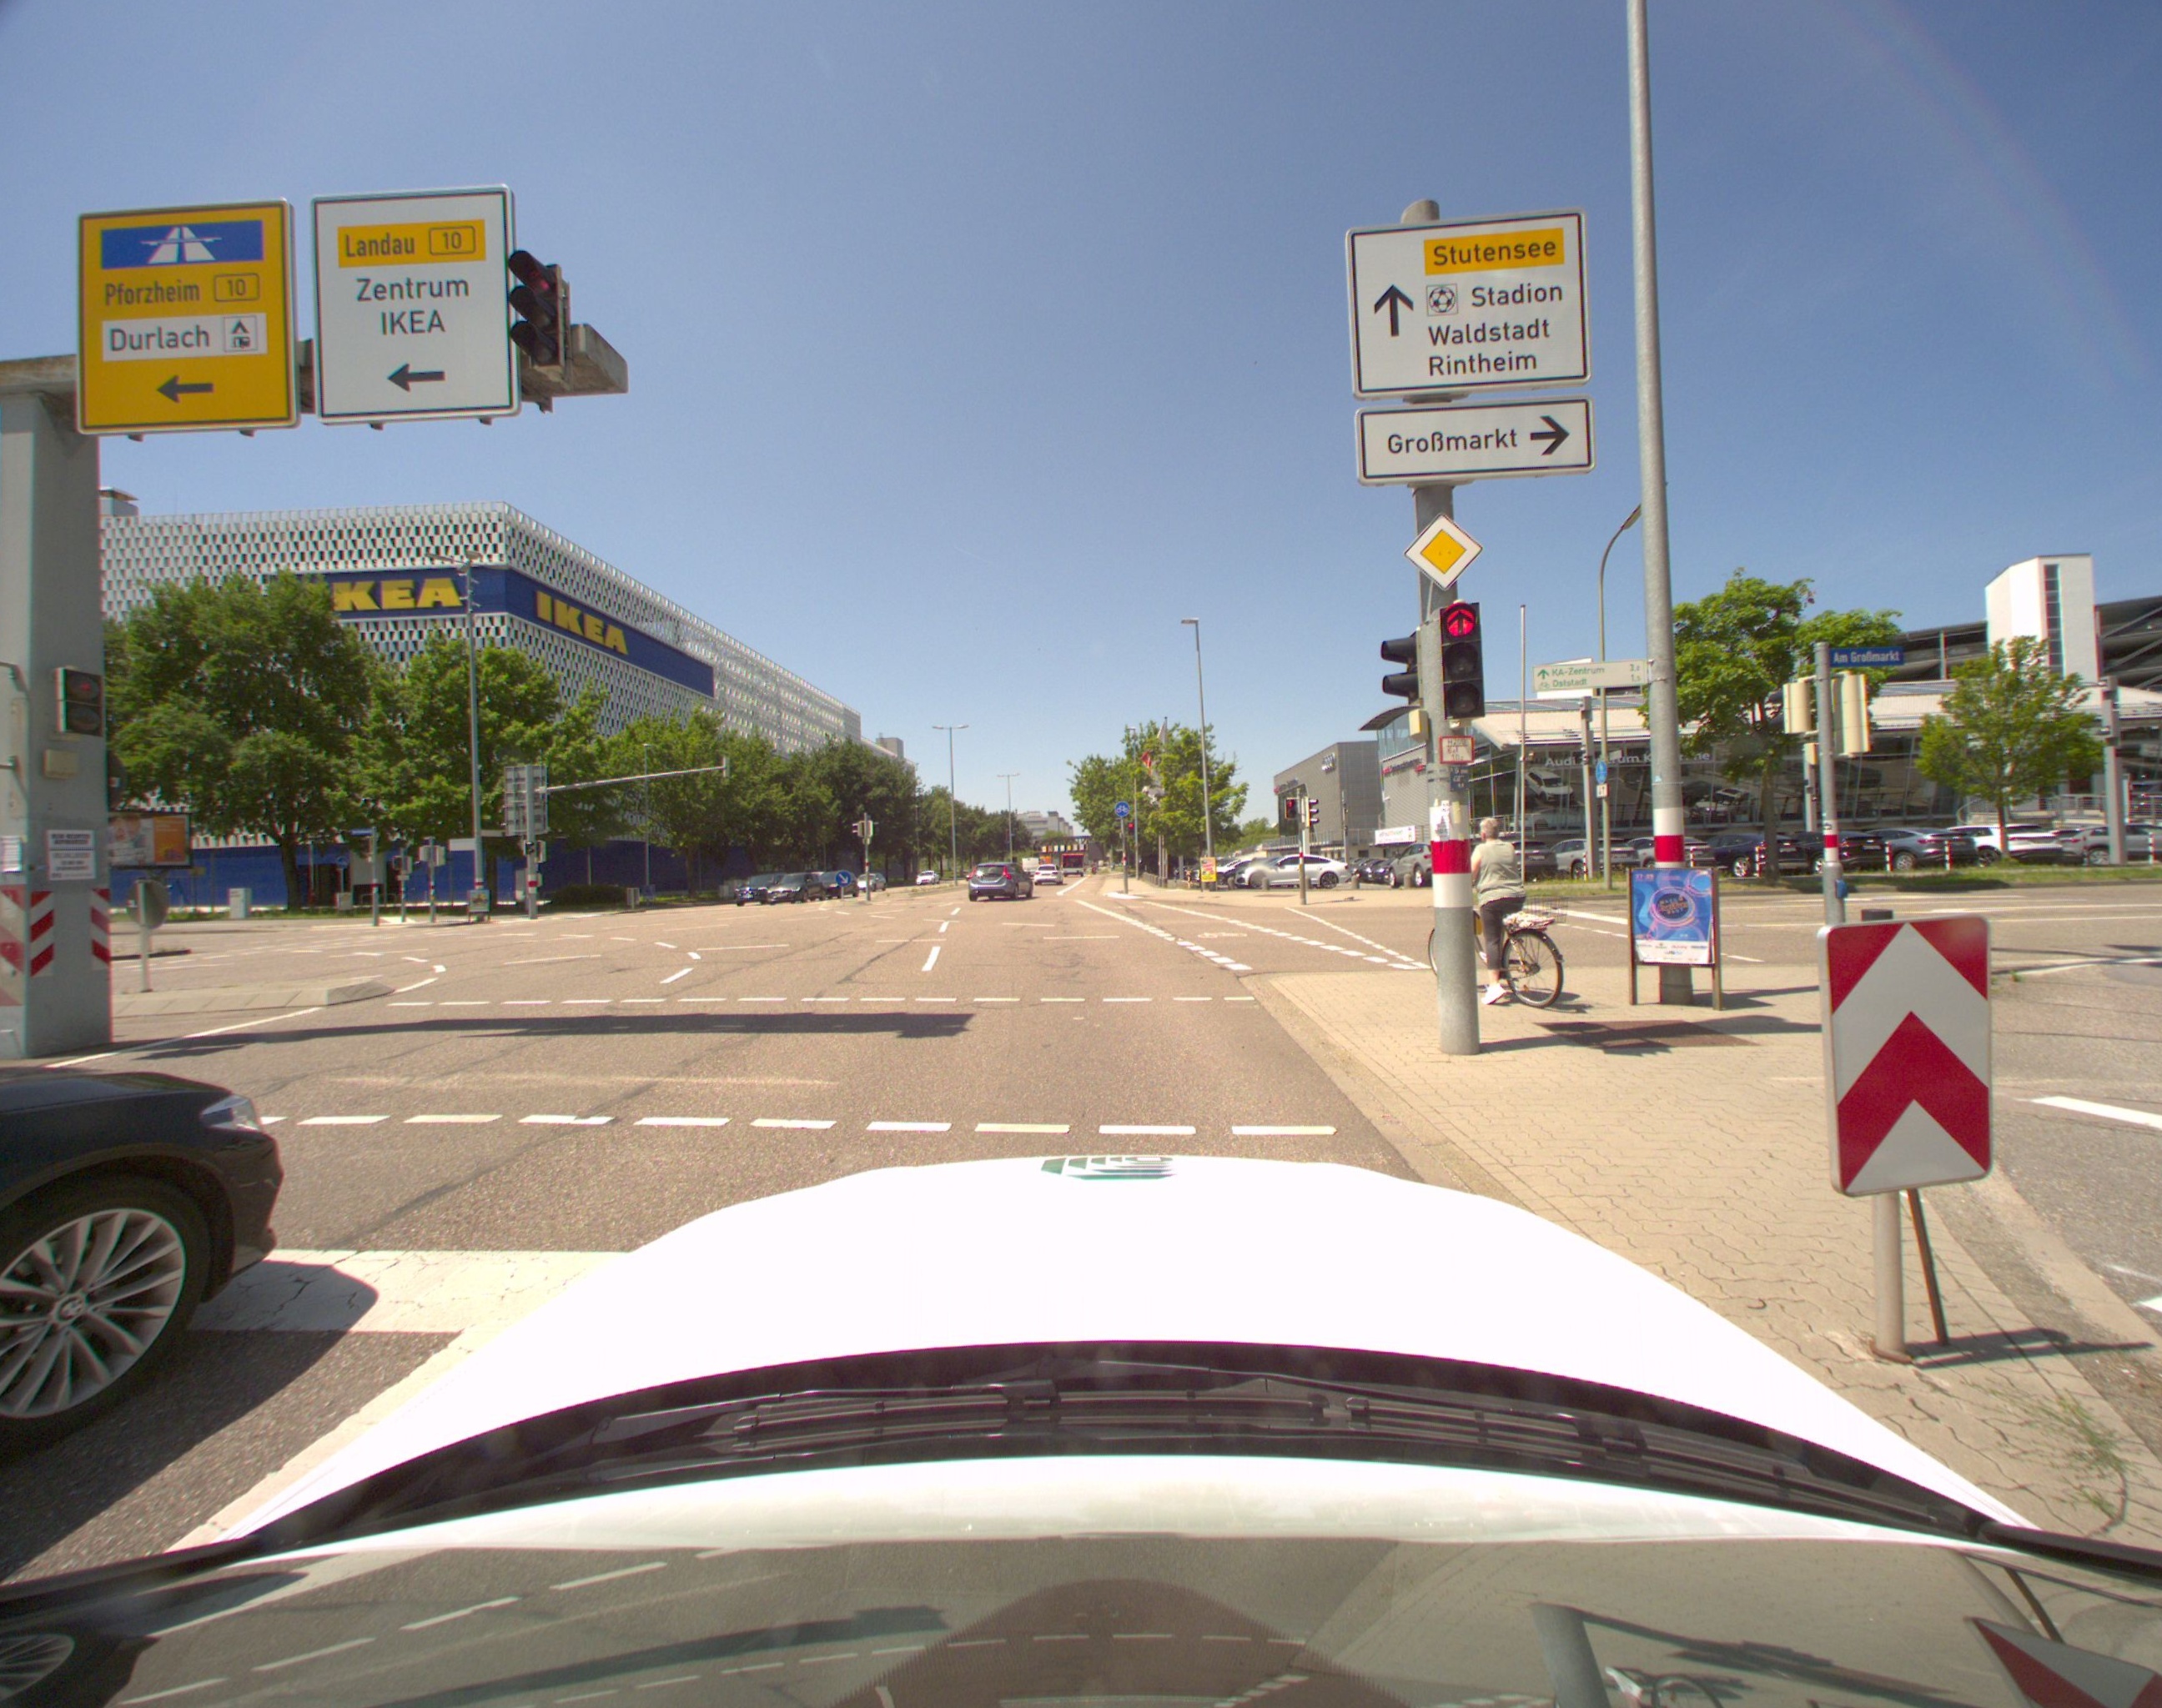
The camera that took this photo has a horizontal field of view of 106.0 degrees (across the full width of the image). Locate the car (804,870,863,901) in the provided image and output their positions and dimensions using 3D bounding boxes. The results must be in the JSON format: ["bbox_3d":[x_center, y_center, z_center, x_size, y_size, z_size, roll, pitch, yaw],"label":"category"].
[{"bbox_3d":[-13.761,1.725,45.470,1.720,1.505,4.245,-4,-1,2],"label":"car"}]

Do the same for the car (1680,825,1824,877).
[{"bbox_3d":[23.051,-0.080,28.187,1.624,1.654,3.907,-1,-1,-2],"label":"car"}]

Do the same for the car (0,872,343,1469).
[{"bbox_3d":[-3.565,0.790,0.614,1.791,1.440,4.557,-2,0,1],"label":"car"}]

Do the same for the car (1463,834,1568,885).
[{"bbox_3d":[15.134,0.215,28.610,1.836,1.654,4.003,0,-1,5],"label":"car"}]

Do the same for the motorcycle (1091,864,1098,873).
[{"bbox_3d":[1.735,1.889,106.209,0.716,1.105,1.825,-1,-1,-8],"label":"motorcycle"}]

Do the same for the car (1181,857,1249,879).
[{"bbox_3d":[8.521,0.887,52.044,4.085,1.405,1.869,0,-1,1],"label":"car"}]

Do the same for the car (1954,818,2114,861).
[{"bbox_3d":[39.886,-0.580,34.246,3.947,1.571,1.862,-3,-1,31],"label":"car"}]

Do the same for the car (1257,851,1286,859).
[{"bbox_3d":[27.146,0.131,115.954,3.716,1.130,1.682,0,-1,-3],"label":"car"}]

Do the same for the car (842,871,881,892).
[{"bbox_3d":[-16.229,2.016,60.345,1.643,1.486,3.916,-3,-1,2],"label":"car"}]

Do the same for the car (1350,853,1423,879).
[{"bbox_3d":[19.108,0.767,51.026,3.967,1.573,1.634,0,-1,1],"label":"car"}]

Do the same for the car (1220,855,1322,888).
[{"bbox_3d":[8.273,0.751,35.692,4.081,1.390,1.869,0,-1,1],"label":"car"}]

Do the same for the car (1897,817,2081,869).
[{"bbox_3d":[31.188,-0.331,28.165,1.840,1.654,3.994,0,-1,-2],"label":"car"}]

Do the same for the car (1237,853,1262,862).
[{"bbox_3d":[29.179,0.633,141.028,3.978,1.312,1.795,-2,-1,-3],"label":"car"}]

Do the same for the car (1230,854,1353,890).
[{"bbox_3d":[8.495,0.716,33.184,4.572,1.390,1.871,0,-1,3],"label":"car"}]

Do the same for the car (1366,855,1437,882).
[{"bbox_3d":[19.128,0.846,48.755,3.634,1.580,1.643,0,-1,1],"label":"car"}]

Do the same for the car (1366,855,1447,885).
[{"bbox_3d":[18.324,0.887,45.965,3.970,1.622,1.657,0,-1,1],"label":"car"}]

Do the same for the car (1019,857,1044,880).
[{"bbox_3d":[-4.629,1.338,76.549,1.986,2.014,4.000,-2,-1,1],"label":"car"}]

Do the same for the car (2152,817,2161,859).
[{"bbox_3d":[39.453,-0.623,26.903,4.558,1.471,1.861,-2,0,26],"label":"car"}]

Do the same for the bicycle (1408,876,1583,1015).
[{"bbox_3d":[3.975,0.818,8.006,0.627,1.133,1.891,-1,0,-5],"label":"bicycle"}]

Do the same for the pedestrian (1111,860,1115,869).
[{"bbox_3d":[5.211,1.682,132.724,0.621,1.374,0.564,-2,-1,0],"label":"pedestrian"}]

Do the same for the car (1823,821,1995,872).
[{"bbox_3d":[28.531,-0.224,28.257,1.840,1.654,3.994,0,-1,-2],"label":"car"}]

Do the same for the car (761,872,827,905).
[{"bbox_3d":[-13.741,1.641,39.205,1.637,1.389,3.717,-4,-1,2],"label":"car"}]

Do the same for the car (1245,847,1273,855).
[{"bbox_3d":[28.187,-0.478,129.068,3.977,1.312,1.795,0,-1,-3],"label":"car"}]

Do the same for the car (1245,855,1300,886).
[{"bbox_3d":[9.226,0.795,39.601,1.855,1.420,4.667,0,-1,4],"label":"car"}]

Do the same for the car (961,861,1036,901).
[{"bbox_3d":[-3.117,1.021,31.759,1.890,1.376,4.241,-2,-1,8],"label":"car"}]

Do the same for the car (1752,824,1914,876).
[{"bbox_3d":[25.927,-0.097,28.287,1.840,1.654,3.994,0,-1,-2],"label":"car"}]

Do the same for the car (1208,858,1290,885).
[{"bbox_3d":[8.961,0.933,43.646,4.081,1.364,1.875,0,-1,1],"label":"car"}]

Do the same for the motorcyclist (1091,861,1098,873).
[{"bbox_3d":[1.734,1.657,106.209,0.719,1.529,0.868,0,-1,-8],"label":"motorcyclist"}]

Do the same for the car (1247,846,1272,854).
[{"bbox_3d":[27.215,-0.636,124.267,3.515,1.239,1.675,0,-1,-3],"label":"car"}]

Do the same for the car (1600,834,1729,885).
[{"bbox_3d":[20.195,0.145,28.380,1.632,1.616,3.815,-1,1,-2],"label":"car"}]

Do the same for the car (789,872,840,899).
[{"bbox_3d":[-16.683,1.940,51.175,1.720,1.544,3.916,-3,-1,2],"label":"car"}]

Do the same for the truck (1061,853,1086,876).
[{"bbox_3d":[-0.756,1.111,87.285,2.449,2.410,7.136,0,-1,2],"label":"truck"}]

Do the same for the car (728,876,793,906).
[{"bbox_3d":[-16.811,1.905,42.934,1.654,1.424,4.039,-3,-1,2],"label":"car"}]

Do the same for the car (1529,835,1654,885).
[{"bbox_3d":[17.873,0.229,28.751,1.840,1.654,3.994,0,-1,-2],"label":"car"}]

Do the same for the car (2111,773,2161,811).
[{"bbox_3d":[53.475,-3.106,39.377,1.905,1.722,4.142,-2,0,-5],"label":"car"}]

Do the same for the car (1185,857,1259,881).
[{"bbox_3d":[8.481,0.906,49.248,4.210,1.390,1.869,0,-1,1],"label":"car"}]

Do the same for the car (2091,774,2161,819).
[{"bbox_3d":[45.769,-2.475,34.001,4.552,1.707,1.916,-2,-1,4],"label":"car"}]

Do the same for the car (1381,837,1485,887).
[{"bbox_3d":[12.367,0.335,28.924,1.860,1.558,4.506,-3,-2,3],"label":"car"}]

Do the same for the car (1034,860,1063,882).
[{"bbox_3d":[-2.194,1.166,56.011,1.737,1.396,3.530,-1,0,2],"label":"car"}]

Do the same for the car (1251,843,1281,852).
[{"bbox_3d":[27.268,-0.900,120.144,3.930,1.211,1.715,-1,-1,-3],"label":"car"}]

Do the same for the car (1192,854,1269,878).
[{"bbox_3d":[8.460,0.670,46.401,4.084,1.349,1.869,0,-1,1],"label":"car"}]

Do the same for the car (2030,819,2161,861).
[{"bbox_3d":[39.610,-0.552,30.718,4.531,1.471,1.925,-3,-1,26],"label":"car"}]

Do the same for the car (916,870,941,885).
[{"bbox_3d":[-15.850,2.442,84.732,1.737,1.486,4.001,-3,-1,2],"label":"car"}]

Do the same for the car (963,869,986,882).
[{"bbox_3d":[-12.871,2.547,98.886,1.718,1.446,4.725,-4,-1,4],"label":"car"}]

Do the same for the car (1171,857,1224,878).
[{"bbox_3d":[8.593,0.995,60.264,3.668,1.453,1.834,0,-1,1],"label":"car"}]

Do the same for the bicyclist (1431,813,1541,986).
[{"bbox_3d":[3.968,0.427,8.031,0.627,1.606,0.824,0,-1,-5],"label":"bicyclist"}]

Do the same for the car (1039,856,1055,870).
[{"bbox_3d":[-4.848,1.304,116.316,1.986,2.014,4.814,0,-1,2],"label":"car"}]
